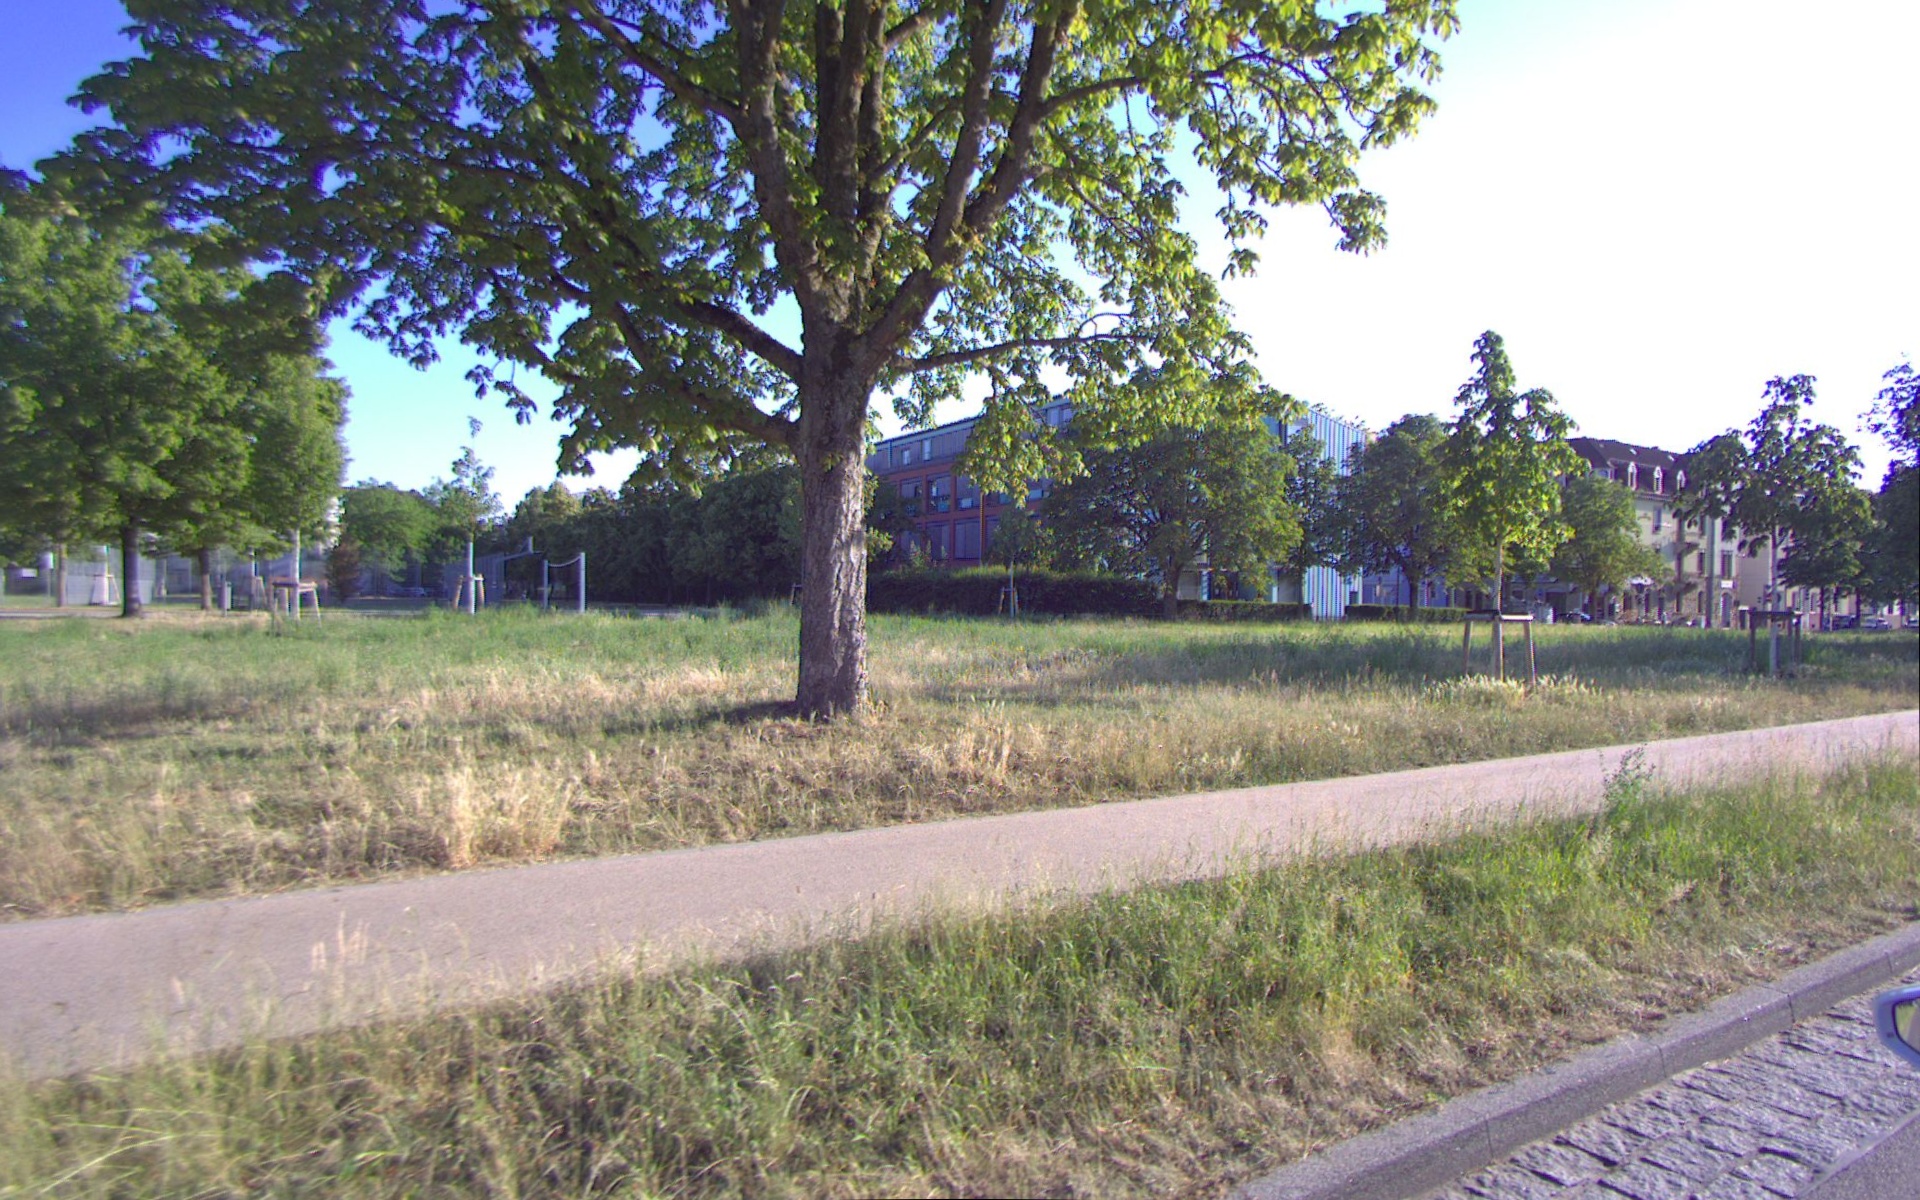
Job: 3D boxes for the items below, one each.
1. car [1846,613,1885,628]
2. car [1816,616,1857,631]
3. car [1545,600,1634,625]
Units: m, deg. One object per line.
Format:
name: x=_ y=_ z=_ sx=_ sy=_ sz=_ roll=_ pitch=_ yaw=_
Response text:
car: x=95.472 y=2.115 z=105.914 sx=3.740 sy=1.446 sz=1.733 roll=0 pitch=2 yaw=-25
car: x=89.932 y=2.389 z=103.054 sx=3.740 sy=1.416 sz=1.733 roll=0 pitch=2 yaw=-25
car: x=42.638 y=0.855 z=68.112 sx=1.798 sy=1.453 sz=4.728 roll=2 pitch=1 yaw=-38
